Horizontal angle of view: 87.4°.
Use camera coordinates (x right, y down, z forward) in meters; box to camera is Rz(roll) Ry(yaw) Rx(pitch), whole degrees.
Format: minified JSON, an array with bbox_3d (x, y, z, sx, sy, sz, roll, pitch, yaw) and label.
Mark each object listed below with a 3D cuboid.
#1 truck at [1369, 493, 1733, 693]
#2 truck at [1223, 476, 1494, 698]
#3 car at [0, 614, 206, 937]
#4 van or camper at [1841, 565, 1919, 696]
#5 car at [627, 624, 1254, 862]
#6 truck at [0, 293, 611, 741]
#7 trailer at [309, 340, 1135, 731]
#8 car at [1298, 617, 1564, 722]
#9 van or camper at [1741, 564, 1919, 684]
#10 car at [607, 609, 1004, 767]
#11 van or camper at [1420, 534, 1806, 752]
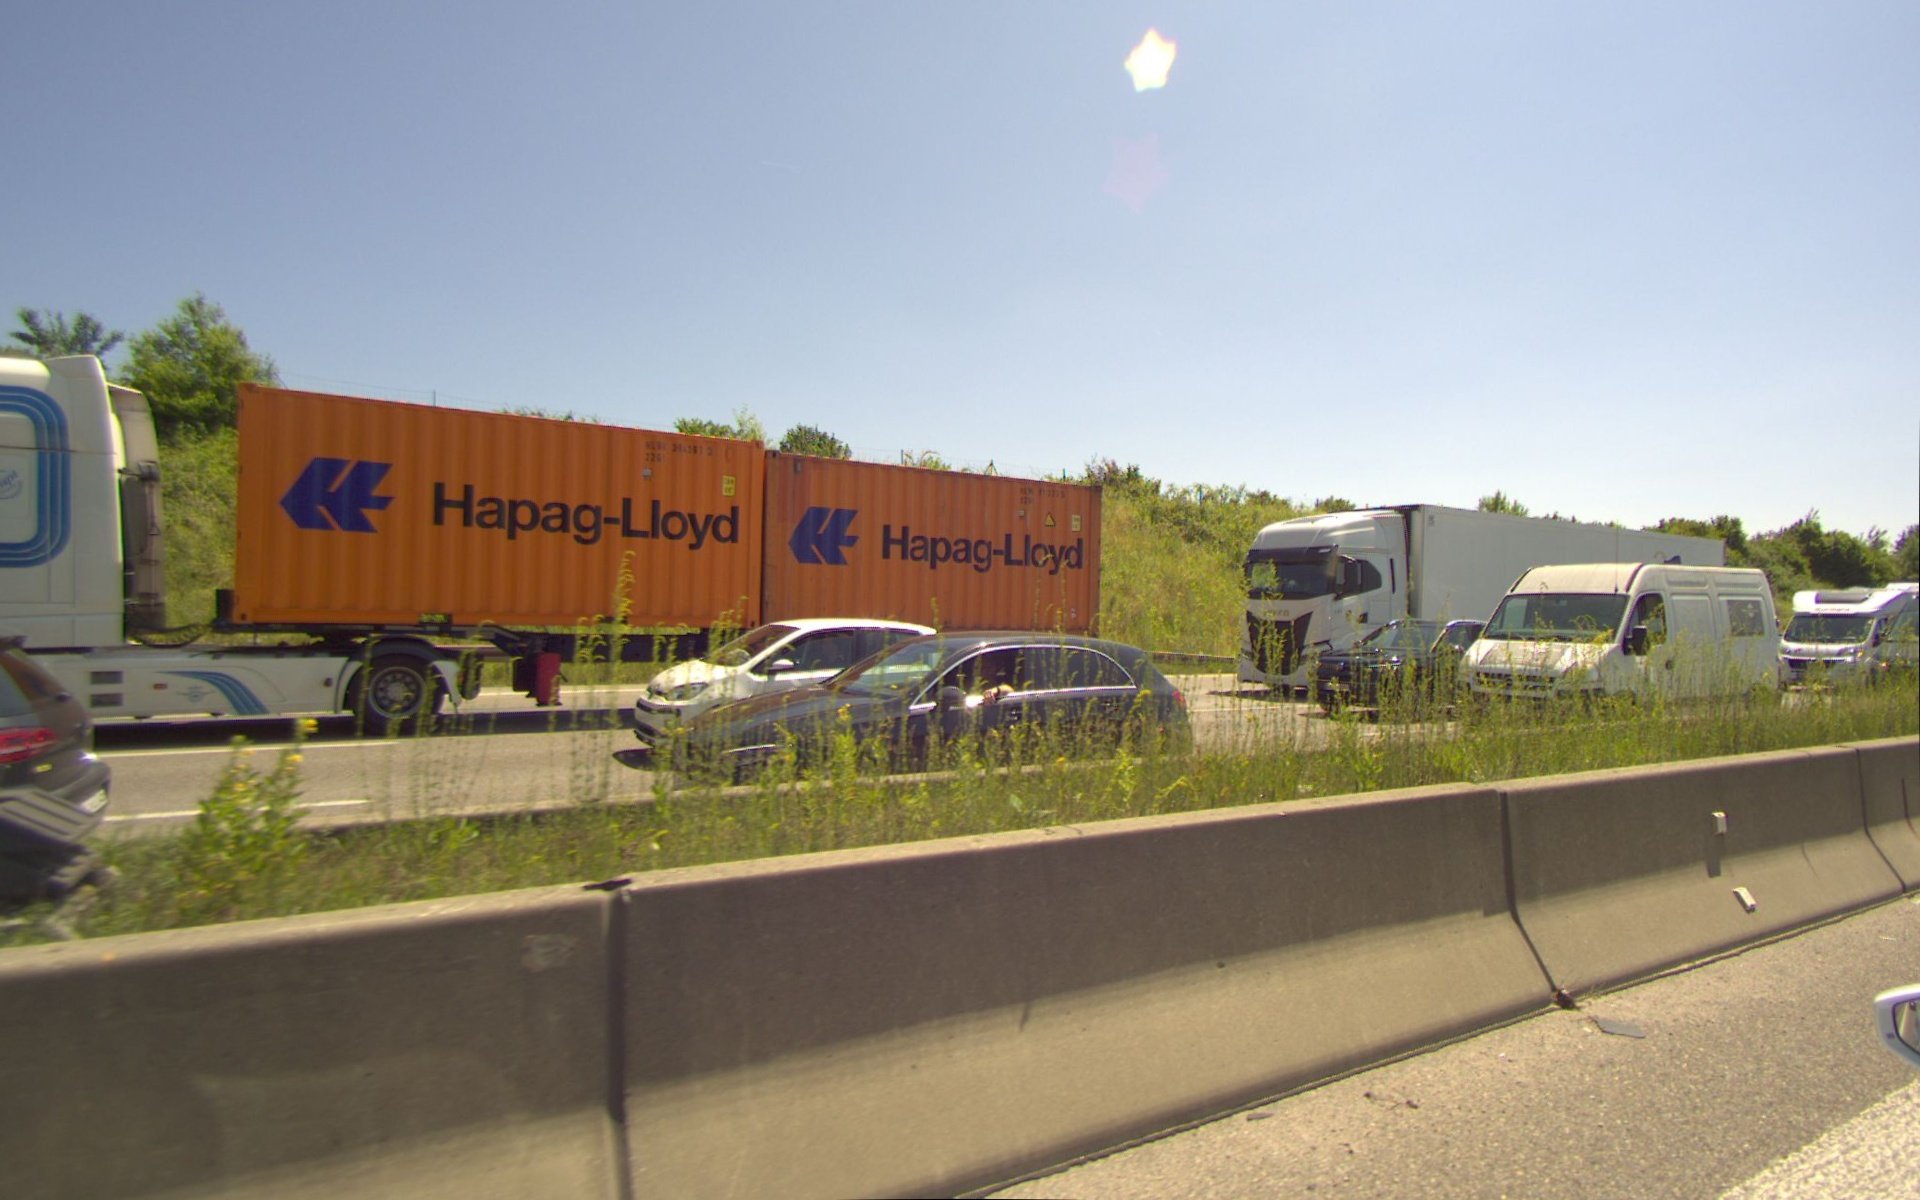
[{"bbox_3d":[15.816,0.003,26.241,12.278,4.383,2.508,2,0,-31],"label":"truck"},{"bbox_3d":[8.849,-0.181,22.235,5.596,4.383,2.510,2,0,-29],"label":"truck"},{"bbox_3d":[-6.219,0.751,4.436,4.380,1.427,1.892,2,-1,-31],"label":"car"},{"bbox_3d":[21.065,0.674,20.715,7.200,2.467,2.286,2,-1,-31],"label":"van or camper"},{"bbox_3d":[-0.013,0.959,8.137,4.827,1.427,1.810,2,-1,-31],"label":"car"},{"bbox_3d":[-8.246,-0.756,12.061,7.210,4.383,2.576,2,0,-31],"label":"truck"},{"bbox_3d":[-2.771,-0.564,15.396,11.862,4.367,2.599,2,0,-31],"label":"trailer"},{"bbox_3d":[8.236,1.146,17.443,4.827,1.609,1.810,2,-1,-31],"label":"car"},{"bbox_3d":[25.050,0.717,27.855,7.732,2.975,2.534,2,-1,-29],"label":"van or camper"},{"bbox_3d":[-1.671,0.899,11.291,4.067,1.485,1.723,2,-1,-31],"label":"car"},{"bbox_3d":[9.351,0.599,14.196,5.989,2.539,2.182,2,-1,-31],"label":"van or camper"}]
